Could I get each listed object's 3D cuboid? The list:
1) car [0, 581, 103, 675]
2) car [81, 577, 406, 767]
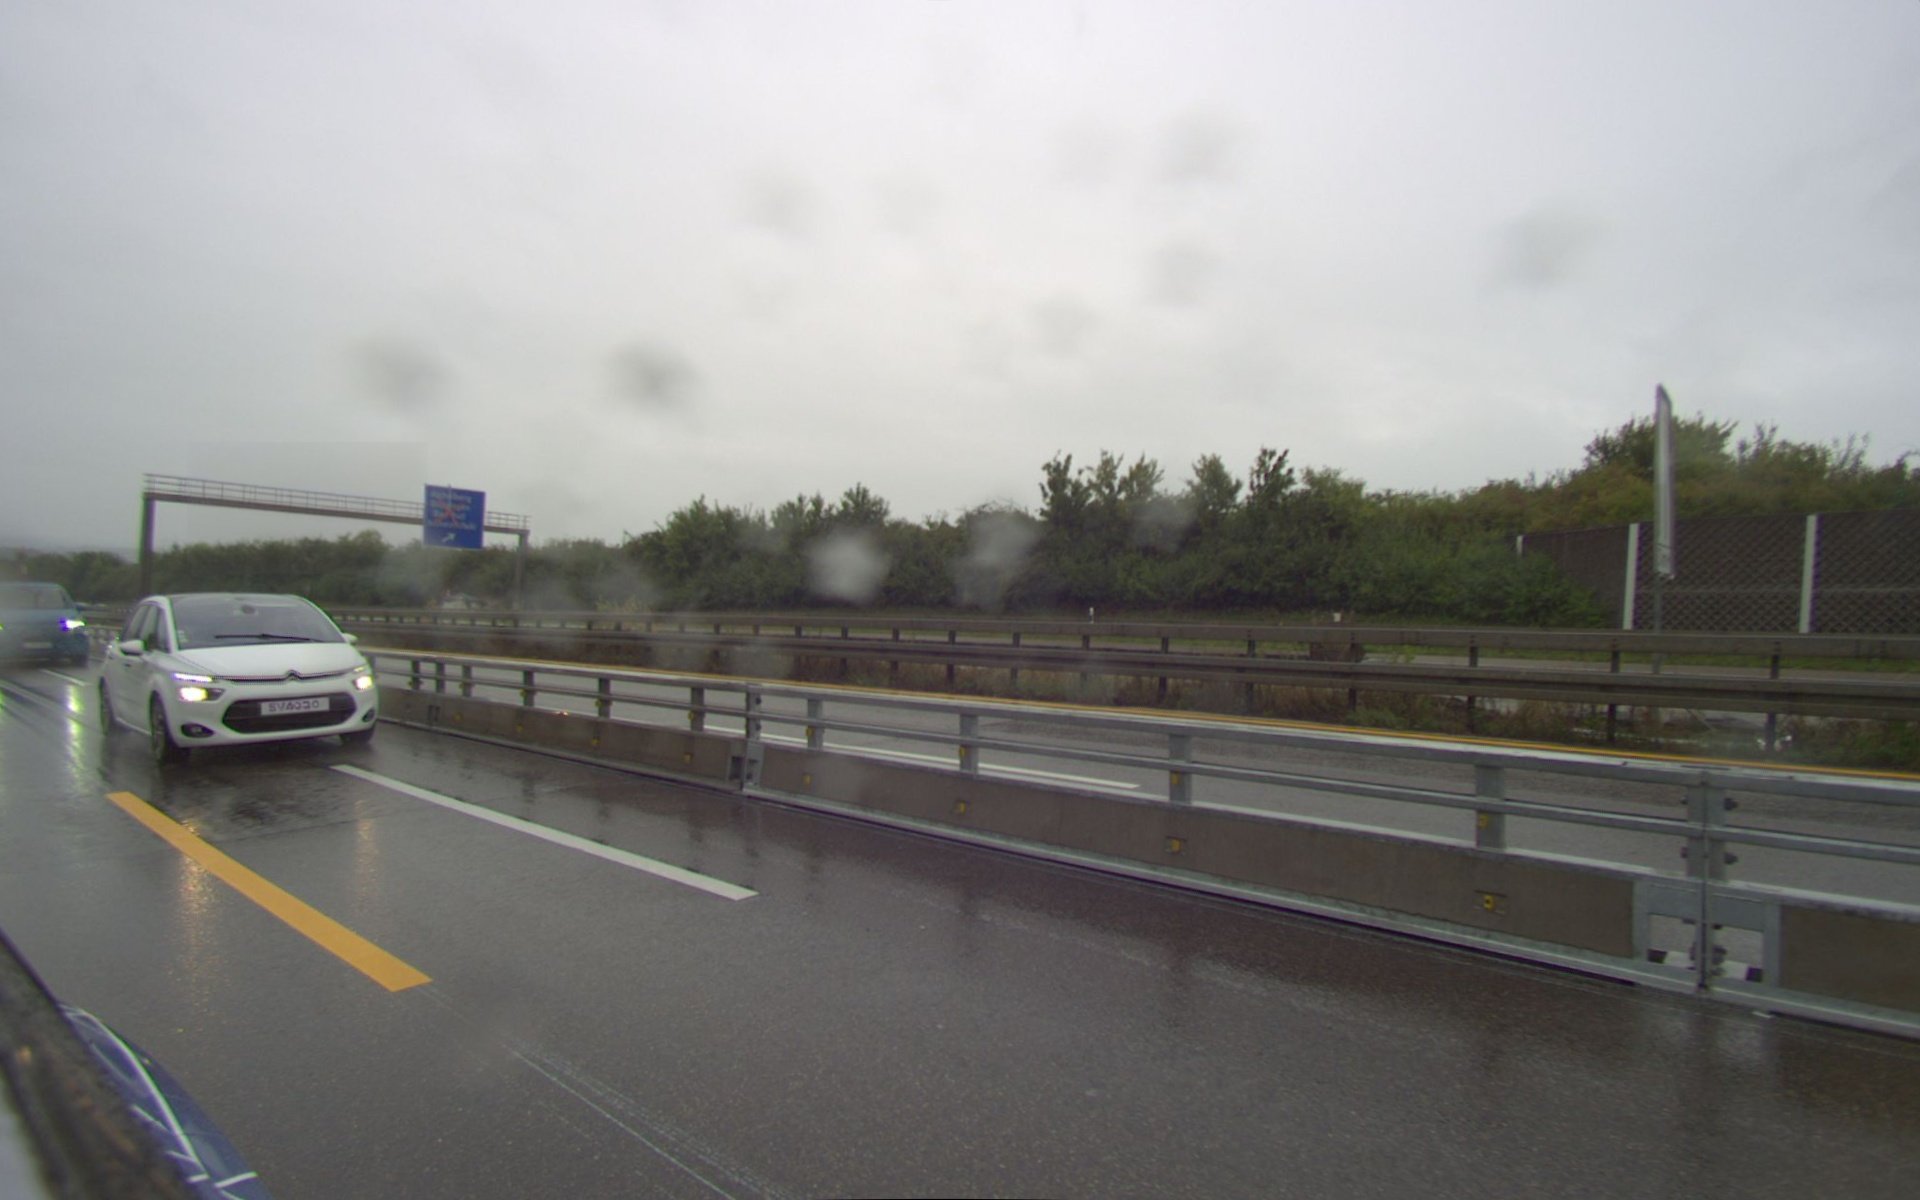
[{"bbox_3d":[-22.381,0.584,24.121,5.562,2.029,2.183,0,1,41],"label":"car"},{"bbox_3d":[-7.744,0.658,10.772,4.308,1.608,1.952,-2,-1,42],"label":"car"}]
